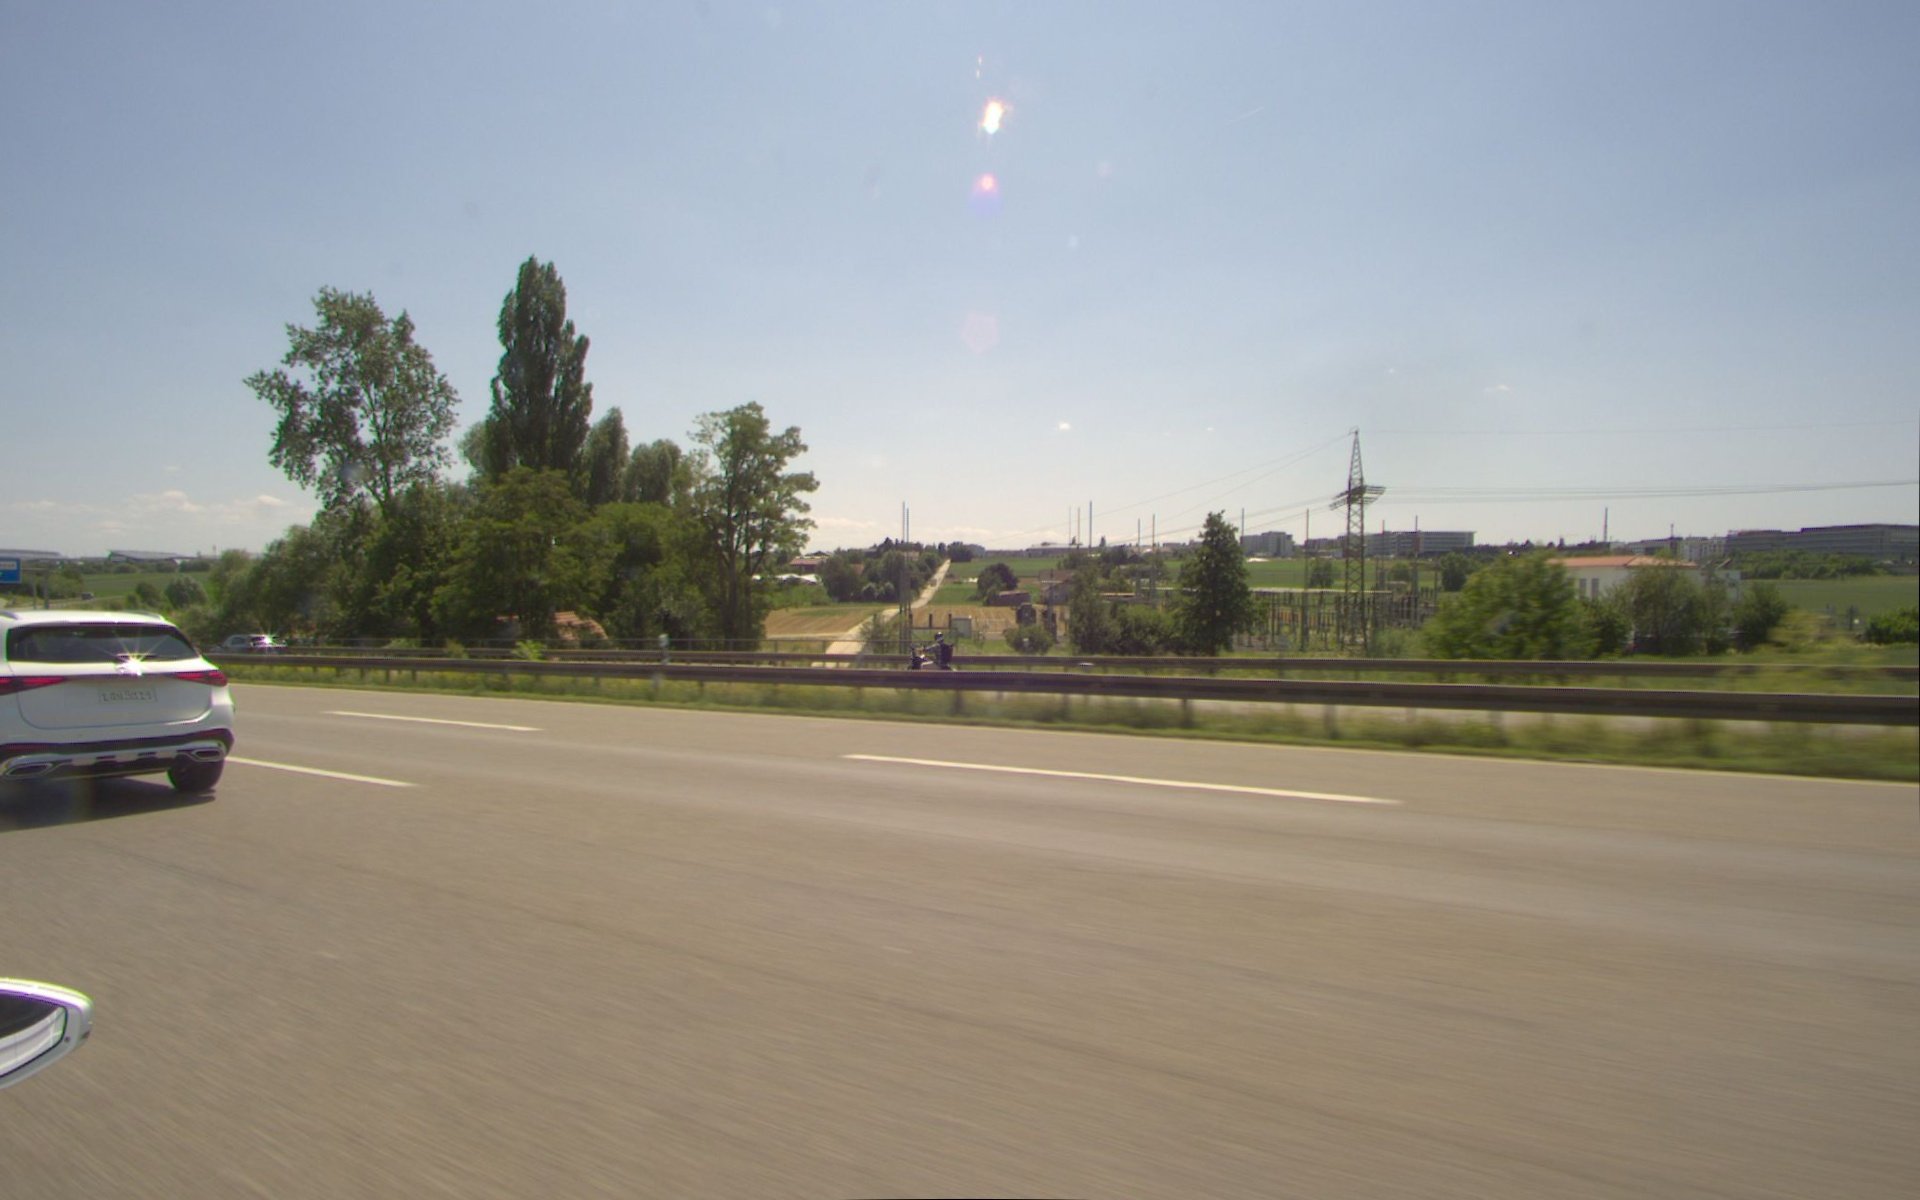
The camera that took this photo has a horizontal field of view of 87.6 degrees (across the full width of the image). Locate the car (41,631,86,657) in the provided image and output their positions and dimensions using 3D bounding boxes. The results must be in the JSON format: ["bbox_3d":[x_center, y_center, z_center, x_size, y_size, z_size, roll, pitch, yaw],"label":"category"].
[{"bbox_3d":[-68.144,3.322,76.098,4.128,1.948,1.932,-2,-2,38],"label":"car"}]

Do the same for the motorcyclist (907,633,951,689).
[{"bbox_3d":[-0.774,1.515,25.164,0.866,1.384,0.667,-1,-1,32],"label":"motorcyclist"}]

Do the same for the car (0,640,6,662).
[{"bbox_3d":[-72.301,3.739,73.711,3.940,1.616,1.992,-1,-2,30],"label":"car"}]

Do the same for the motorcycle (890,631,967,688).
[{"bbox_3d":[-0.807,1.476,25.212,1.843,1.384,0.758,-1,-1,33],"label":"motorcycle"}]

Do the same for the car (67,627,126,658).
[{"bbox_3d":[-55.355,2.703,64.192,4.123,1.948,1.934,-1,-2,35],"label":"car"}]

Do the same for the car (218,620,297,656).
[{"bbox_3d":[-32.783,1.769,46.702,4.072,1.595,1.695,-1,-2,35],"label":"car"}]

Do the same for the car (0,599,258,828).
[{"bbox_3d":[-8.700,0.897,9.265,4.928,1.668,1.895,-1,-2,33],"label":"car"}]
